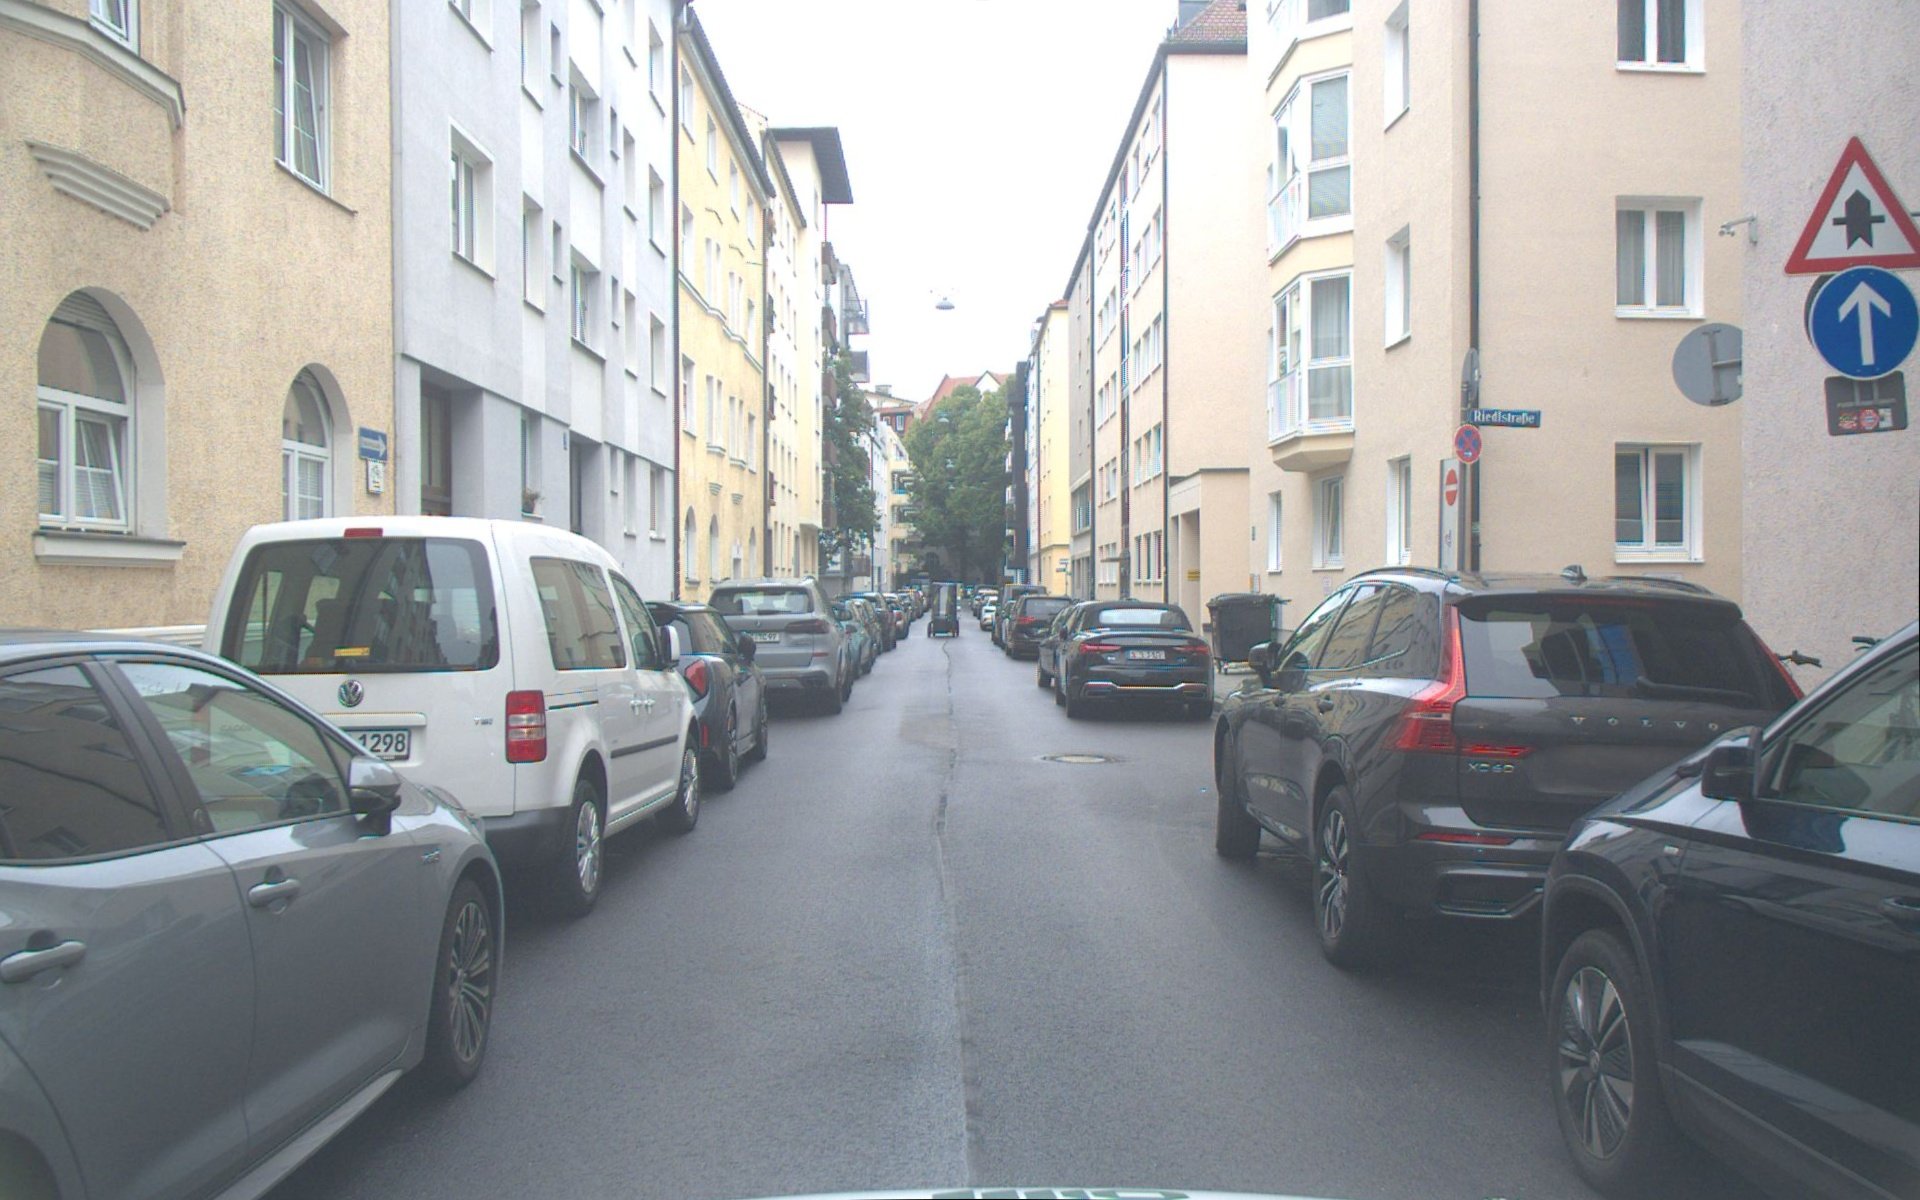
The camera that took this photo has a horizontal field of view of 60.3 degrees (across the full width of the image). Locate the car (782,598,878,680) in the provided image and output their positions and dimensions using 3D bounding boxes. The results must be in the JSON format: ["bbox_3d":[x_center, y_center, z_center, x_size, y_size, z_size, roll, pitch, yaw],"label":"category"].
[{"bbox_3d":[-2.516,0.726,32.582,1.530,1.486,3.404,-1,0,1],"label":"car"}]

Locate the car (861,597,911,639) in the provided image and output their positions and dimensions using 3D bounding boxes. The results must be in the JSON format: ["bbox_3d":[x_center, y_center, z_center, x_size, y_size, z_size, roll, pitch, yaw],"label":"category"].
[{"bbox_3d":[-2.670,0.631,60.443,1.618,1.461,3.802,-1,0,0],"label":"car"}]

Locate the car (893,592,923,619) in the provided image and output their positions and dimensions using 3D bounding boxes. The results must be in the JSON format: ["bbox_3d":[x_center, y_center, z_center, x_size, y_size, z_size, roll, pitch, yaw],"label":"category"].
[{"bbox_3d":[-3.023,0.284,96.135,1.659,1.467,3.976,-1,1,-2],"label":"car"}]

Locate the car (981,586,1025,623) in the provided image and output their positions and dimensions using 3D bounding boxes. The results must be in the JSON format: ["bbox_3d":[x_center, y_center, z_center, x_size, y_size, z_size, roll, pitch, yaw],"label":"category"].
[{"bbox_3d":[1.885,0.184,73.471,1.782,1.432,3.952,1,3,-1],"label":"car"}]

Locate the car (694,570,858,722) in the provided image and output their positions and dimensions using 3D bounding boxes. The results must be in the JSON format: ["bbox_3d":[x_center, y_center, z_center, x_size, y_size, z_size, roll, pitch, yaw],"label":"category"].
[{"bbox_3d":[-2.411,0.568,22.793,1.825,1.801,4.733,-2,0,-2],"label":"car"}]

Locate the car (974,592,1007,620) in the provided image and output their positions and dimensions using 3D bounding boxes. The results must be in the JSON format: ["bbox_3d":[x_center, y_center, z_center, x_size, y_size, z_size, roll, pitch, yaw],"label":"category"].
[{"bbox_3d":[1.686,0.320,93.354,1.715,1.495,4.342,2,1,-1],"label":"car"}]

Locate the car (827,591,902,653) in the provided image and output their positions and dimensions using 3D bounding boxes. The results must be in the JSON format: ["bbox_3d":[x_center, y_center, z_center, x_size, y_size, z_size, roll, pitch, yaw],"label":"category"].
[{"bbox_3d":[-2.734,0.620,48.249,1.840,1.689,4.415,-1,0,1],"label":"car"}]

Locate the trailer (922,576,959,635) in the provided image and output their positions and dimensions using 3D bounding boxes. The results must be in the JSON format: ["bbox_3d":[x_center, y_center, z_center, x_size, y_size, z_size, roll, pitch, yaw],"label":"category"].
[{"bbox_3d":[-0.707,0.206,62.325,1.327,2.153,3.318,-1,-1,0],"label":"trailer"}]

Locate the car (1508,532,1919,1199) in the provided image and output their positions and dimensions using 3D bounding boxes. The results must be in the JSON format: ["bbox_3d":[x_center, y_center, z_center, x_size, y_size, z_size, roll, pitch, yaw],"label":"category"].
[{"bbox_3d":[2.595,0.718,2.810,1.795,1.650,4.322,1,0,-1],"label":"car"}]

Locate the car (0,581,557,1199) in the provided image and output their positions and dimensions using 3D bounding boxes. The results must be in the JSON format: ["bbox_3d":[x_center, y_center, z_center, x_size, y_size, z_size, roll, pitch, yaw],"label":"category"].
[{"bbox_3d":[-2.227,0.771,3.619,1.637,1.501,4.111,-2,-1,0],"label":"car"}]

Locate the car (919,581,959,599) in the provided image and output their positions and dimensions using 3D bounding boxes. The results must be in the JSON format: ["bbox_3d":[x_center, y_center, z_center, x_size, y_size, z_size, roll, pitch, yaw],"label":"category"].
[{"bbox_3d":[-2.058,-0.979,163.436,3.807,1.612,1.647,-3,0,-2],"label":"car"}]

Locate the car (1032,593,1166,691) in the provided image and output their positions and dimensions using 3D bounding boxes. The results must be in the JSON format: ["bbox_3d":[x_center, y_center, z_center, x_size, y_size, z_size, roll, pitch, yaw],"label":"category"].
[{"bbox_3d":[2.263,0.663,27.912,1.682,1.497,4.529,1,0,-2],"label":"car"}]

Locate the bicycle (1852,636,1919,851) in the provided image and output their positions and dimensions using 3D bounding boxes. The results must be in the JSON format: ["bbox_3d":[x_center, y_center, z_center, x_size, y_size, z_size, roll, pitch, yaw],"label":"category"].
[{"bbox_3d":[5.368,0.785,8.859,0.349,1.141,1.543,0,0,0],"label":"bicycle"}]

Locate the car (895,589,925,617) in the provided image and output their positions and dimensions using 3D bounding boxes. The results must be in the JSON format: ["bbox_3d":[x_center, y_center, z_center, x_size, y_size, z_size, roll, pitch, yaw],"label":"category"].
[{"bbox_3d":[-3.066,0.154,102.017,1.740,1.657,4.414,-1,1,-1],"label":"car"}]

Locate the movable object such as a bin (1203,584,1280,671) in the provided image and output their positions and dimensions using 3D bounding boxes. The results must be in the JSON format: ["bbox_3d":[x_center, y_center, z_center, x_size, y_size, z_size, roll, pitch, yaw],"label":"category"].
[{"bbox_3d":[4.916,0.467,28.963,1.011,1.448,1.586,-2,0,-1],"label":"movable object such as a bin"}]

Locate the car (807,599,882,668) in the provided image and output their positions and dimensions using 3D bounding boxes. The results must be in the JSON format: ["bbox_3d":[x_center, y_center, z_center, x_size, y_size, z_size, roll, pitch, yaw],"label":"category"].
[{"bbox_3d":[-2.629,0.732,38.245,1.531,1.486,3.762,-1,0,-2],"label":"car"}]

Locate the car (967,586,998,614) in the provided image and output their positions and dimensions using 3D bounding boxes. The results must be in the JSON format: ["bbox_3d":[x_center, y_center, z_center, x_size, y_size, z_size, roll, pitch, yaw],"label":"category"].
[{"bbox_3d":[1.413,-0.029,103.541,1.648,1.595,4.414,2,1,-2],"label":"car"}]

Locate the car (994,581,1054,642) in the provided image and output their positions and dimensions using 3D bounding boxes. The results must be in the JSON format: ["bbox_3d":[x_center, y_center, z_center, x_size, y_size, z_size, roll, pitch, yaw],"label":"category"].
[{"bbox_3d":[2.237,0.368,58.496,1.716,2.010,4.341,2,1,-2],"label":"car"}]

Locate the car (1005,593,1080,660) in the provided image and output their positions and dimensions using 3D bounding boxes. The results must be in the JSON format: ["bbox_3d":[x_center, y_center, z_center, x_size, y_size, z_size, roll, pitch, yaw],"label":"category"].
[{"bbox_3d":[2.105,0.672,43.051,1.676,1.636,4.243,1,0,0],"label":"car"}]

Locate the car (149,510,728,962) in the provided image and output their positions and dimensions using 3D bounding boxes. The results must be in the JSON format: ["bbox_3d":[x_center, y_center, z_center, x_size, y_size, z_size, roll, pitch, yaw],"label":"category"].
[{"bbox_3d":[-2.478,0.570,9.028,1.688,1.820,4.249,-2,0,1],"label":"car"}]

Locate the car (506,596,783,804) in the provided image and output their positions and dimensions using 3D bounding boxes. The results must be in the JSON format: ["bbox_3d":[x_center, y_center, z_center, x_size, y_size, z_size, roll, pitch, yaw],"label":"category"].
[{"bbox_3d":[-2.484,0.751,13.851,1.618,1.436,3.734,-2,-1,-1],"label":"car"}]

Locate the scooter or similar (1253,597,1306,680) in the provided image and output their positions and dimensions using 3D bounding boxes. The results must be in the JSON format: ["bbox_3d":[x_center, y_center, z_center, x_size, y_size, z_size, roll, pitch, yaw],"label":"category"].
[{"bbox_3d":[5.125,0.604,26.563,0.564,1.288,1.136,-2,0,-1],"label":"scooter or similar"}]

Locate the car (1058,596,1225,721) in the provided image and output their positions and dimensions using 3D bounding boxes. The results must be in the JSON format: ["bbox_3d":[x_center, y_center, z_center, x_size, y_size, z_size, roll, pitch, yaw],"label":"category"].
[{"bbox_3d":[2.249,0.690,21.505,1.795,1.430,4.412,1,0,2],"label":"car"}]

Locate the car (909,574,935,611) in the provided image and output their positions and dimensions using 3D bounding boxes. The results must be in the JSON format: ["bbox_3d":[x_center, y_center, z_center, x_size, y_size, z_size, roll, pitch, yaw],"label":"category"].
[{"bbox_3d":[-3.068,-0.651,134.971,1.897,2.850,4.532,-3,0,-1],"label":"car"}]

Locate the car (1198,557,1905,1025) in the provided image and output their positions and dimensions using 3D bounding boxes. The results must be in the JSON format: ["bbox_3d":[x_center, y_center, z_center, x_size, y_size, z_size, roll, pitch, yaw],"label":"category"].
[{"bbox_3d":[2.439,0.692,8.114,1.795,1.650,4.410,1,0,-1],"label":"car"}]

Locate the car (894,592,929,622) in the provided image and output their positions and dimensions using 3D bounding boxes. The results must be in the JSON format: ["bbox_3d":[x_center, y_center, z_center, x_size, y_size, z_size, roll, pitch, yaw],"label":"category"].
[{"bbox_3d":[-2.581,0.355,88.464,1.658,1.467,3.942,-1,1,0],"label":"car"}]

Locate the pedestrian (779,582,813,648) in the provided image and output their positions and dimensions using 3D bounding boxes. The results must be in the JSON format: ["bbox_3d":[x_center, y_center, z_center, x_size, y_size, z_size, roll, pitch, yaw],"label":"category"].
[{"bbox_3d":[-4.525,0.400,45.557,0.822,1.795,1.067,1,0,-1],"label":"pedestrian"}]

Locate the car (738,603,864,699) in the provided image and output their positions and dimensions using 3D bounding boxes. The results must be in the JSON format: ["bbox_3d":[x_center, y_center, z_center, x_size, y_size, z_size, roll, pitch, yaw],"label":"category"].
[{"bbox_3d":[-2.595,0.799,27.789,1.775,1.410,4.249,-2,0,-2],"label":"car"}]

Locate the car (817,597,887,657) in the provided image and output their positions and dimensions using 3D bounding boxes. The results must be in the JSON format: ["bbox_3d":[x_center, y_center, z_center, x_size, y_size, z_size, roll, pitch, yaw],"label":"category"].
[{"bbox_3d":[-2.801,0.673,43.439,1.530,1.486,3.476,-1,0,1],"label":"car"}]
